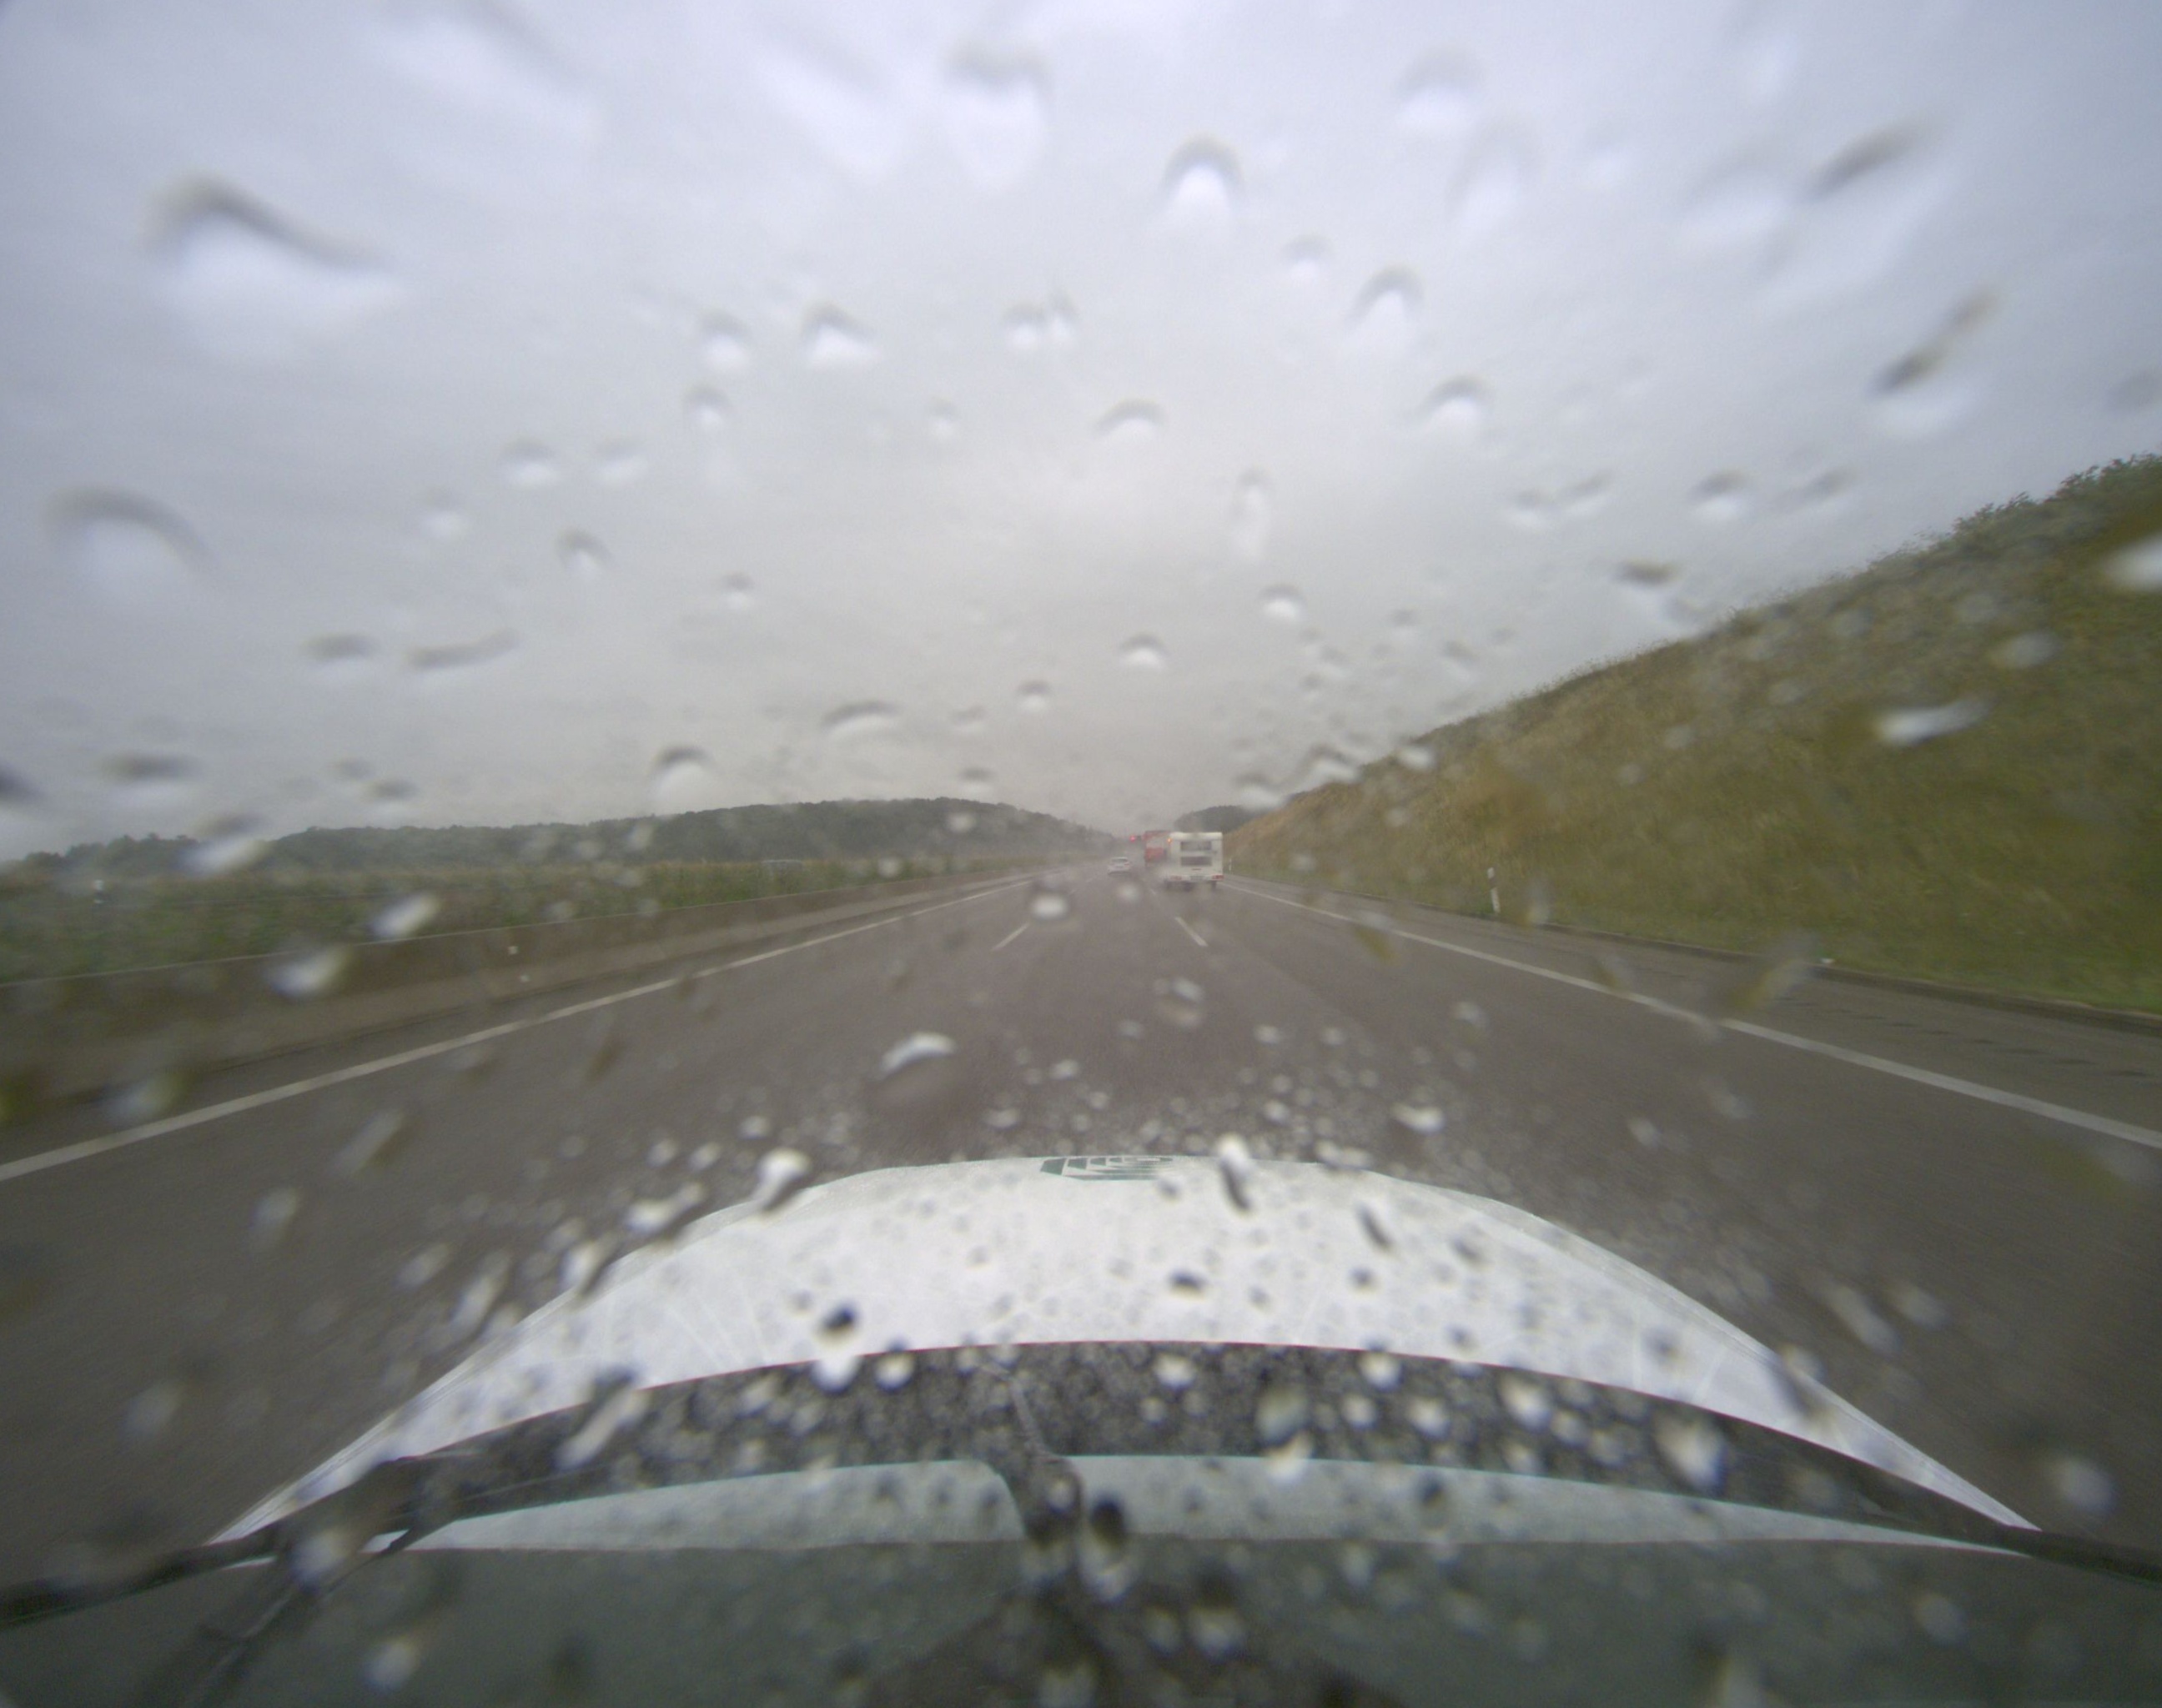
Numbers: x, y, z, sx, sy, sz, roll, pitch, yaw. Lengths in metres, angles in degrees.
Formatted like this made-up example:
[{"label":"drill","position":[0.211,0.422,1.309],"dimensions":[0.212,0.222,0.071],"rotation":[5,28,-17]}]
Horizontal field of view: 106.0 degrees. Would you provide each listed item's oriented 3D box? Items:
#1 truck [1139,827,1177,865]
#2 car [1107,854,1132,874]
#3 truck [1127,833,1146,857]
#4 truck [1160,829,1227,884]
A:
[{"label":"truck","position":[8.010,-0.845,86.235],"dimensions":[3.512,3.743,11.436],"rotation":[0,0,3]},{"label":"car","position":[2.944,0.777,62.932],"dimensions":[1.861,1.463,4.001],"rotation":[-1,-1,1]},{"label":"truck","position":[16.876,-2.646,245.774],"dimensions":[5.389,6.838,19.476],"rotation":[-1,0,4]},{"label":"truck","position":[4.958,0.124,36.504],"dimensions":[2.399,2.252,4.693],"rotation":[-1,0,1]}]
